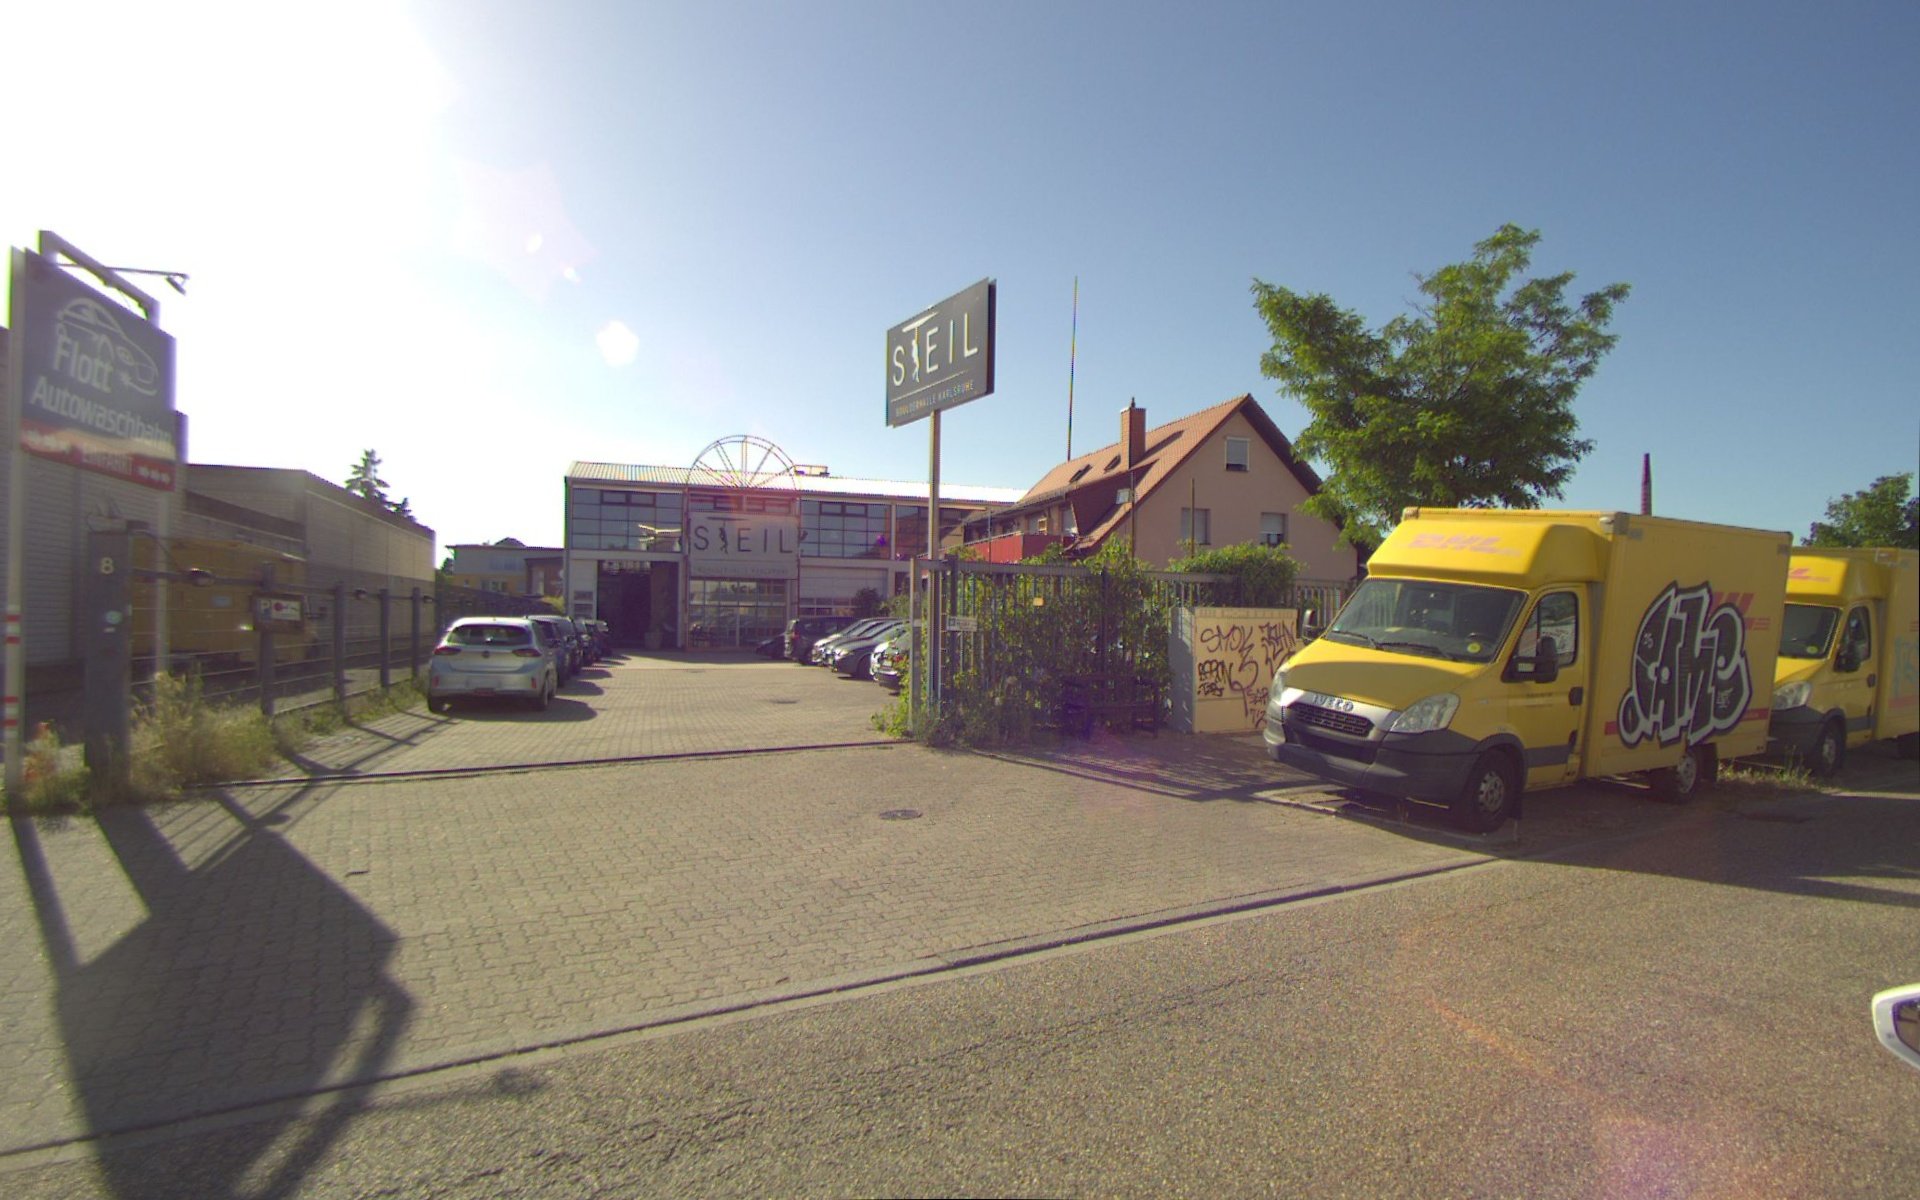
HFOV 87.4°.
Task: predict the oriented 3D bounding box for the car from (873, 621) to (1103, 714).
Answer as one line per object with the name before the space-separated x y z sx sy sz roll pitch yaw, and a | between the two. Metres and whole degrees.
car | 0.497 1.211 18.769 3.980 1.599 1.693 1 -1 -18

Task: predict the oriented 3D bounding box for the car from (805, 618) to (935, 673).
car | -2.785 1.408 31.255 3.718 1.627 1.584 2 -1 -28

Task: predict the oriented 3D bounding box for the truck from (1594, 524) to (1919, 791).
truck | 11.528 0.688 13.658 6.364 2.941 2.182 2 1 -31

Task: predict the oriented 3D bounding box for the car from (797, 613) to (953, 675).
car | -2.403 1.245 28.591 4.068 1.627 1.705 2 -1 -28

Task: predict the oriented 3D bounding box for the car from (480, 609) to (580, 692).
car | -9.484 1.062 22.412 1.818 1.680 4.082 1 -1 -20

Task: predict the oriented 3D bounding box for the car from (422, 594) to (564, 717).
car | -7.783 0.864 17.078 1.818 1.815 4.082 1 -1 -20

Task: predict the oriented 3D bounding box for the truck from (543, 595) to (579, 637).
truck | -29.957 1.203 75.602 2.082 2.976 4.700 1 -1 -17

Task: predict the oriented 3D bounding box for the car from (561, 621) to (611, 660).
car | -15.948 1.705 42.982 1.805 1.510 3.872 2 -1 -18

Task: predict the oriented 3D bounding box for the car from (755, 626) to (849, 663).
car | -6.817 1.910 43.433 3.718 1.514 1.584 2 -1 -28

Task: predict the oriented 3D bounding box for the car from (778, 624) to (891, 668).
car | -4.486 1.653 36.068 3.716 1.514 1.584 2 -1 -27

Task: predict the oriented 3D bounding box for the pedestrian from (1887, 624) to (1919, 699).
pedestrian | 24.205 1.541 25.436 0.914 1.862 0.988 2 -1 -40

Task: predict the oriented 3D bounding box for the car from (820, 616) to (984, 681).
car | -1.527 1.263 26.288 3.980 1.599 1.693 1 -1 -18

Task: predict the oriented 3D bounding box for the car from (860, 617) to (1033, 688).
car | -0.345 1.256 24.335 3.855 1.599 1.693 1 -1 -18

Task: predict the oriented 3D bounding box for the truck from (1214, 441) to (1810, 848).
truck | 5.751 0.398 10.134 6.301 3.023 2.390 2 0 -31

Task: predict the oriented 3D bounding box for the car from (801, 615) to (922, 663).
car | -3.310 1.309 33.788 3.718 1.514 1.584 2 -1 -28

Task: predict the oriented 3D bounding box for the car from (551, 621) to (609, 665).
car | -14.168 1.567 37.595 1.805 1.510 3.872 2 -1 -18

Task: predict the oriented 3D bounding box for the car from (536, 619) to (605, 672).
car | -12.210 1.390 31.676 1.805 1.510 3.872 2 -1 -18

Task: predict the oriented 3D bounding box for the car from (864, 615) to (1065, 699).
car | 0.079 1.191 21.543 3.980 1.683 1.693 1 -1 -18

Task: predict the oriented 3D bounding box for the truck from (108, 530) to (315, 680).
truck | -16.554 0.159 22.580 2.376 2.976 4.696 2 -1 -20
